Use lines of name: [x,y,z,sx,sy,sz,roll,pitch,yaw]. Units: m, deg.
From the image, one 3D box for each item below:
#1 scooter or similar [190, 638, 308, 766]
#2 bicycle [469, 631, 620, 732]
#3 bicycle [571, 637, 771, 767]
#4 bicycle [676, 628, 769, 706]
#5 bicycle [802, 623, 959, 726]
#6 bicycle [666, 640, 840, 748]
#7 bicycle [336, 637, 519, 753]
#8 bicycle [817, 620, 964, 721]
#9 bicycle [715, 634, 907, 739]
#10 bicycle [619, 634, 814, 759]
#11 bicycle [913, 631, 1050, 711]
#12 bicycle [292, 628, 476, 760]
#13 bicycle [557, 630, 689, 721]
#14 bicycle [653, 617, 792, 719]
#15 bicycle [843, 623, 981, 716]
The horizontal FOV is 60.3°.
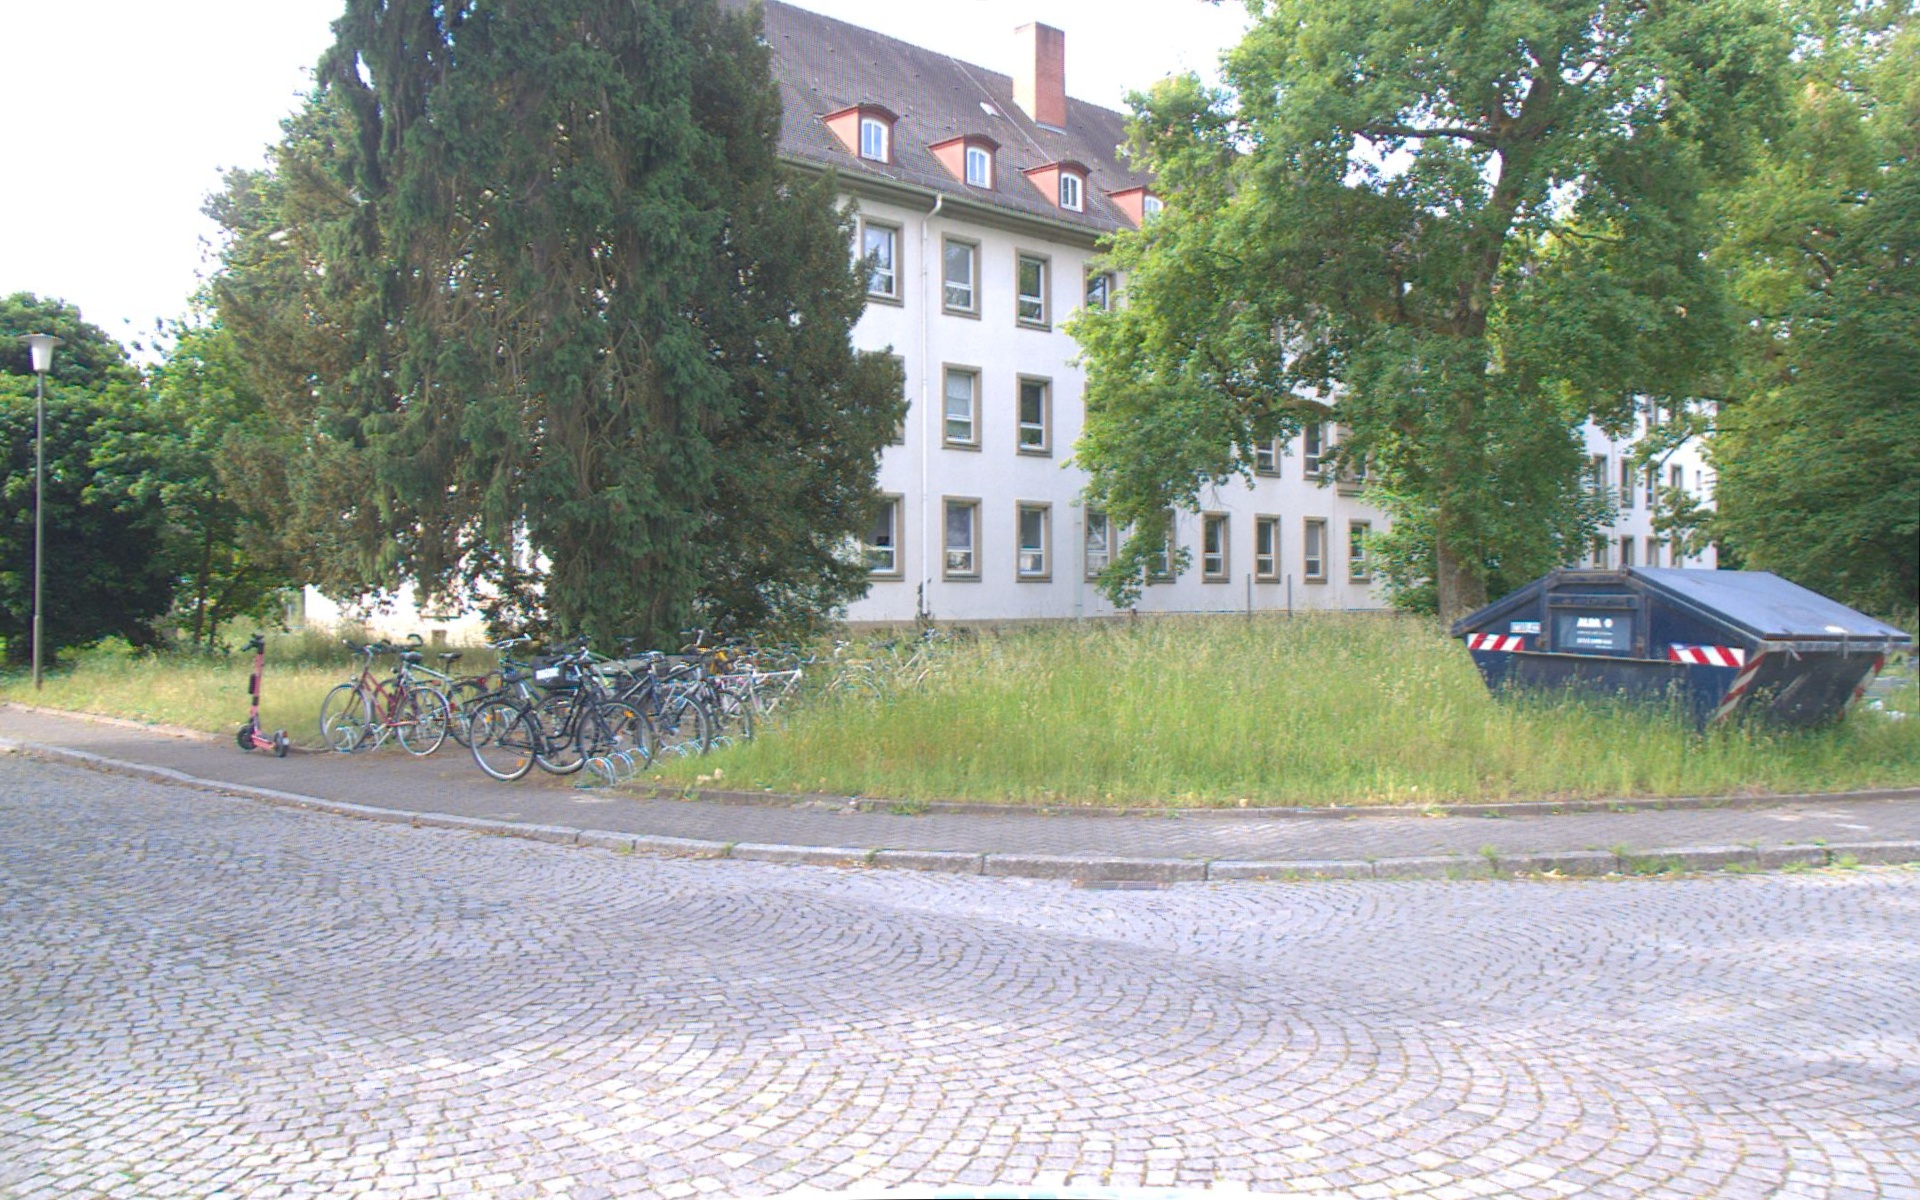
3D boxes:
scooter or similar: [-7.354,1.021,17.075,0.676,1.216,1.529,-1,0,-41]
bicycle: [-4.762,0.924,18.975,1.590,1.092,0.540,-1,2,16]
bicycle: [-2.714,0.949,15.531,1.733,1.122,0.702,-2,1,27]
bicycle: [-3.250,0.922,22.616,1.234,1.047,0.433,-2,-3,27]
bicycle: [-0.923,0.857,19.132,1.736,1.124,0.541,-2,1,27]
bicycle: [-2.112,0.953,16.843,1.658,1.019,0.632,-2,1,27]
bicycle: [-5.675,0.984,17.606,1.946,1.133,0.643,0,2,27]
bicycle: [-0.833,0.837,19.696,1.663,1.135,0.541,-2,1,27]
bicycle: [-1.580,0.911,17.494,1.915,1.022,0.686,-2,1,27]
bicycle: [-2.386,0.933,16.187,1.758,1.122,0.702,-2,1,27]
bicycle: [0.261,0.873,20.360,1.584,0.926,0.526,-2,1,27]
bicycle: [-5.915,0.938,16.967,1.858,1.244,0.643,0,2,27]
bicycle: [-4.140,0.920,20.307,1.479,1.053,0.546,-1,2,16]
bicycle: [-2.959,0.835,20.601,1.604,1.206,0.574,0,2,20]
bicycle: [-0.592,0.845,20.190,1.584,1.077,0.526,-2,1,27]
